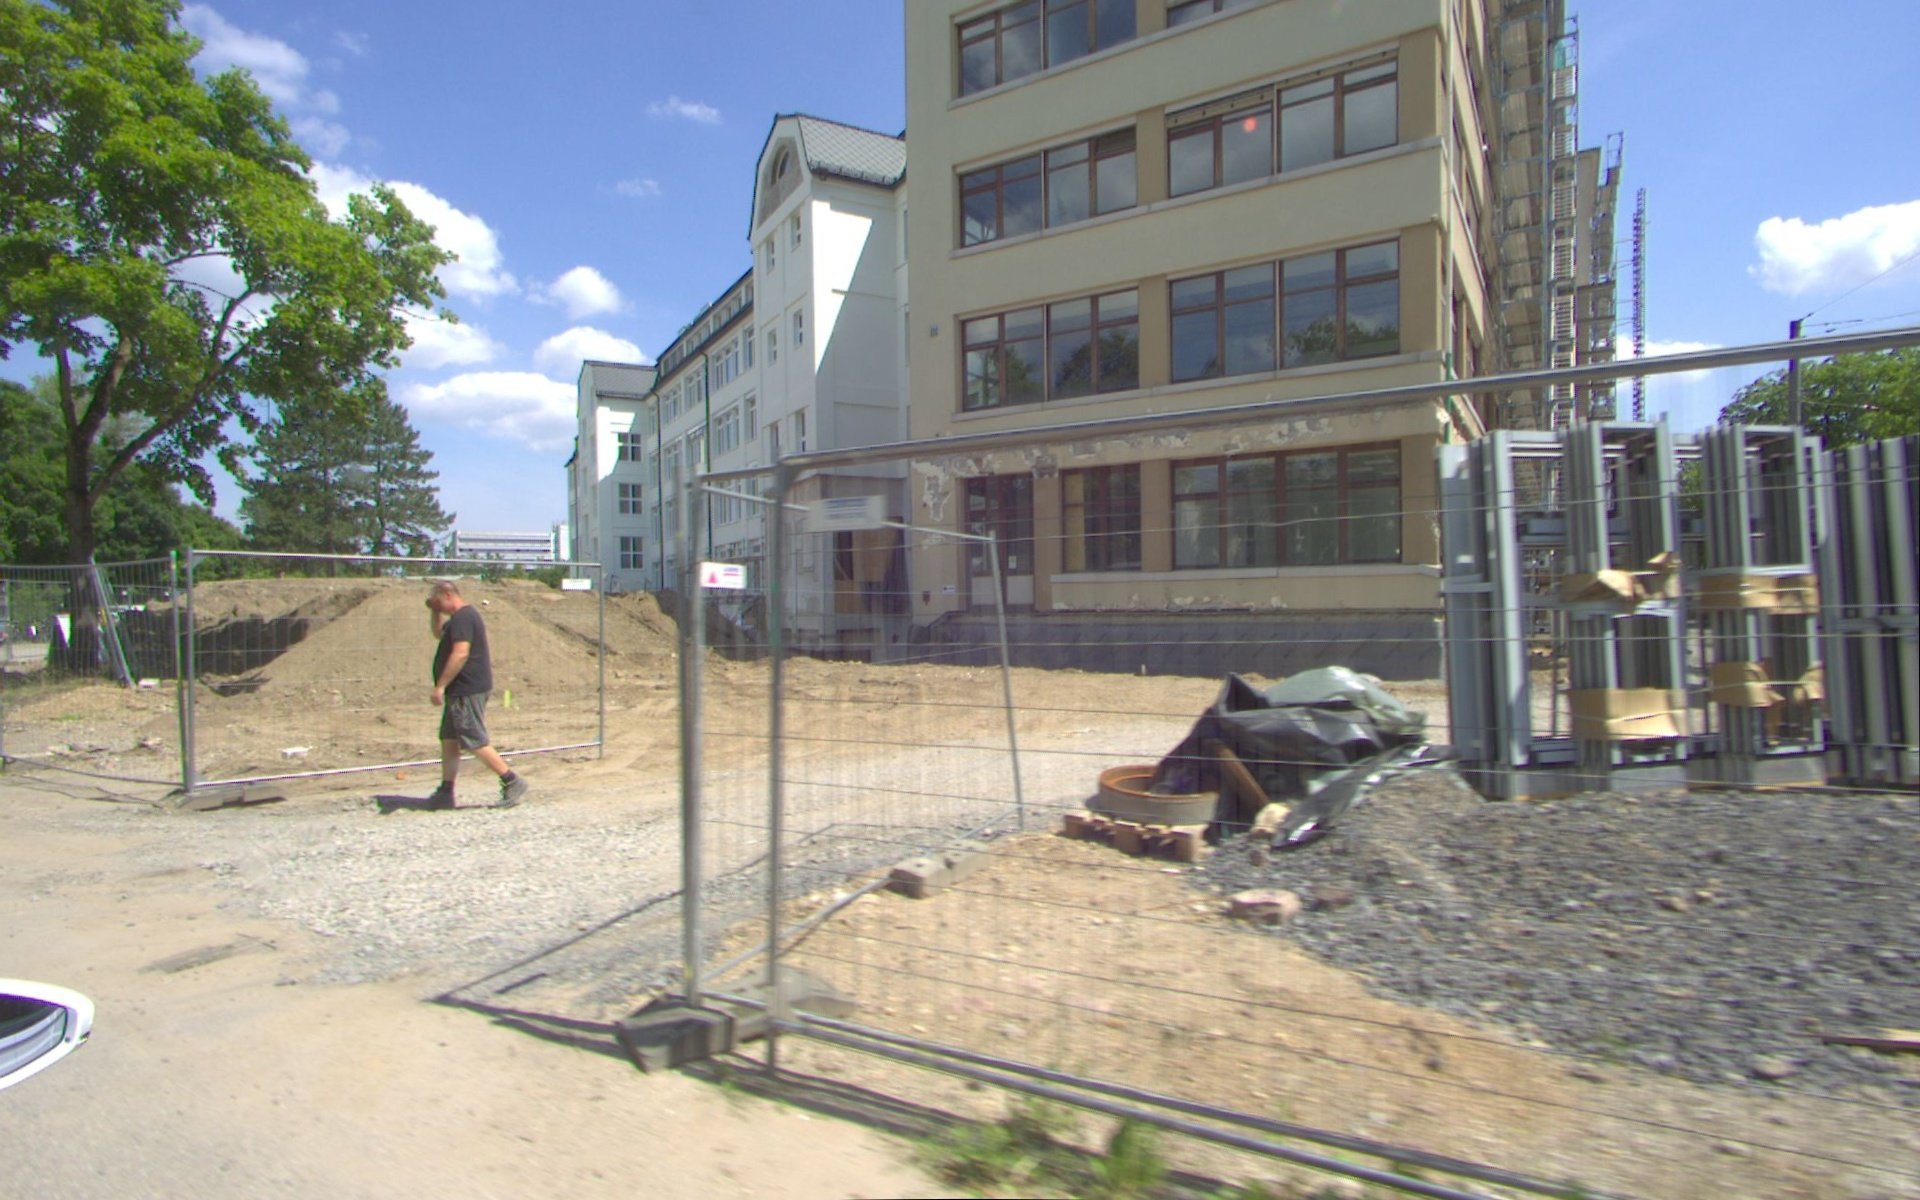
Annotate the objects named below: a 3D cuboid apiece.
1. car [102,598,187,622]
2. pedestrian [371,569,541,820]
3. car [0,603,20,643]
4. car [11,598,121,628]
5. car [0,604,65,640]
[{"bbox_3d":[-58.169,0.696,71.484,4.456,1.619,1.716,0,0,-31],"label":"car"},{"bbox_3d":[-4.023,0.695,8.006,0.860,1.844,0.959,1,1,41],"label":"pedestrian"},{"bbox_3d":[-40.896,0.925,40.105,4.457,1.619,1.716,0,1,-31],"label":"car"},{"bbox_3d":[-51.572,0.723,57.885,4.456,1.619,1.716,0,1,-31],"label":"car"},{"bbox_3d":[-43.615,0.987,45.193,4.456,1.619,1.926,0,0,-30],"label":"car"}]
